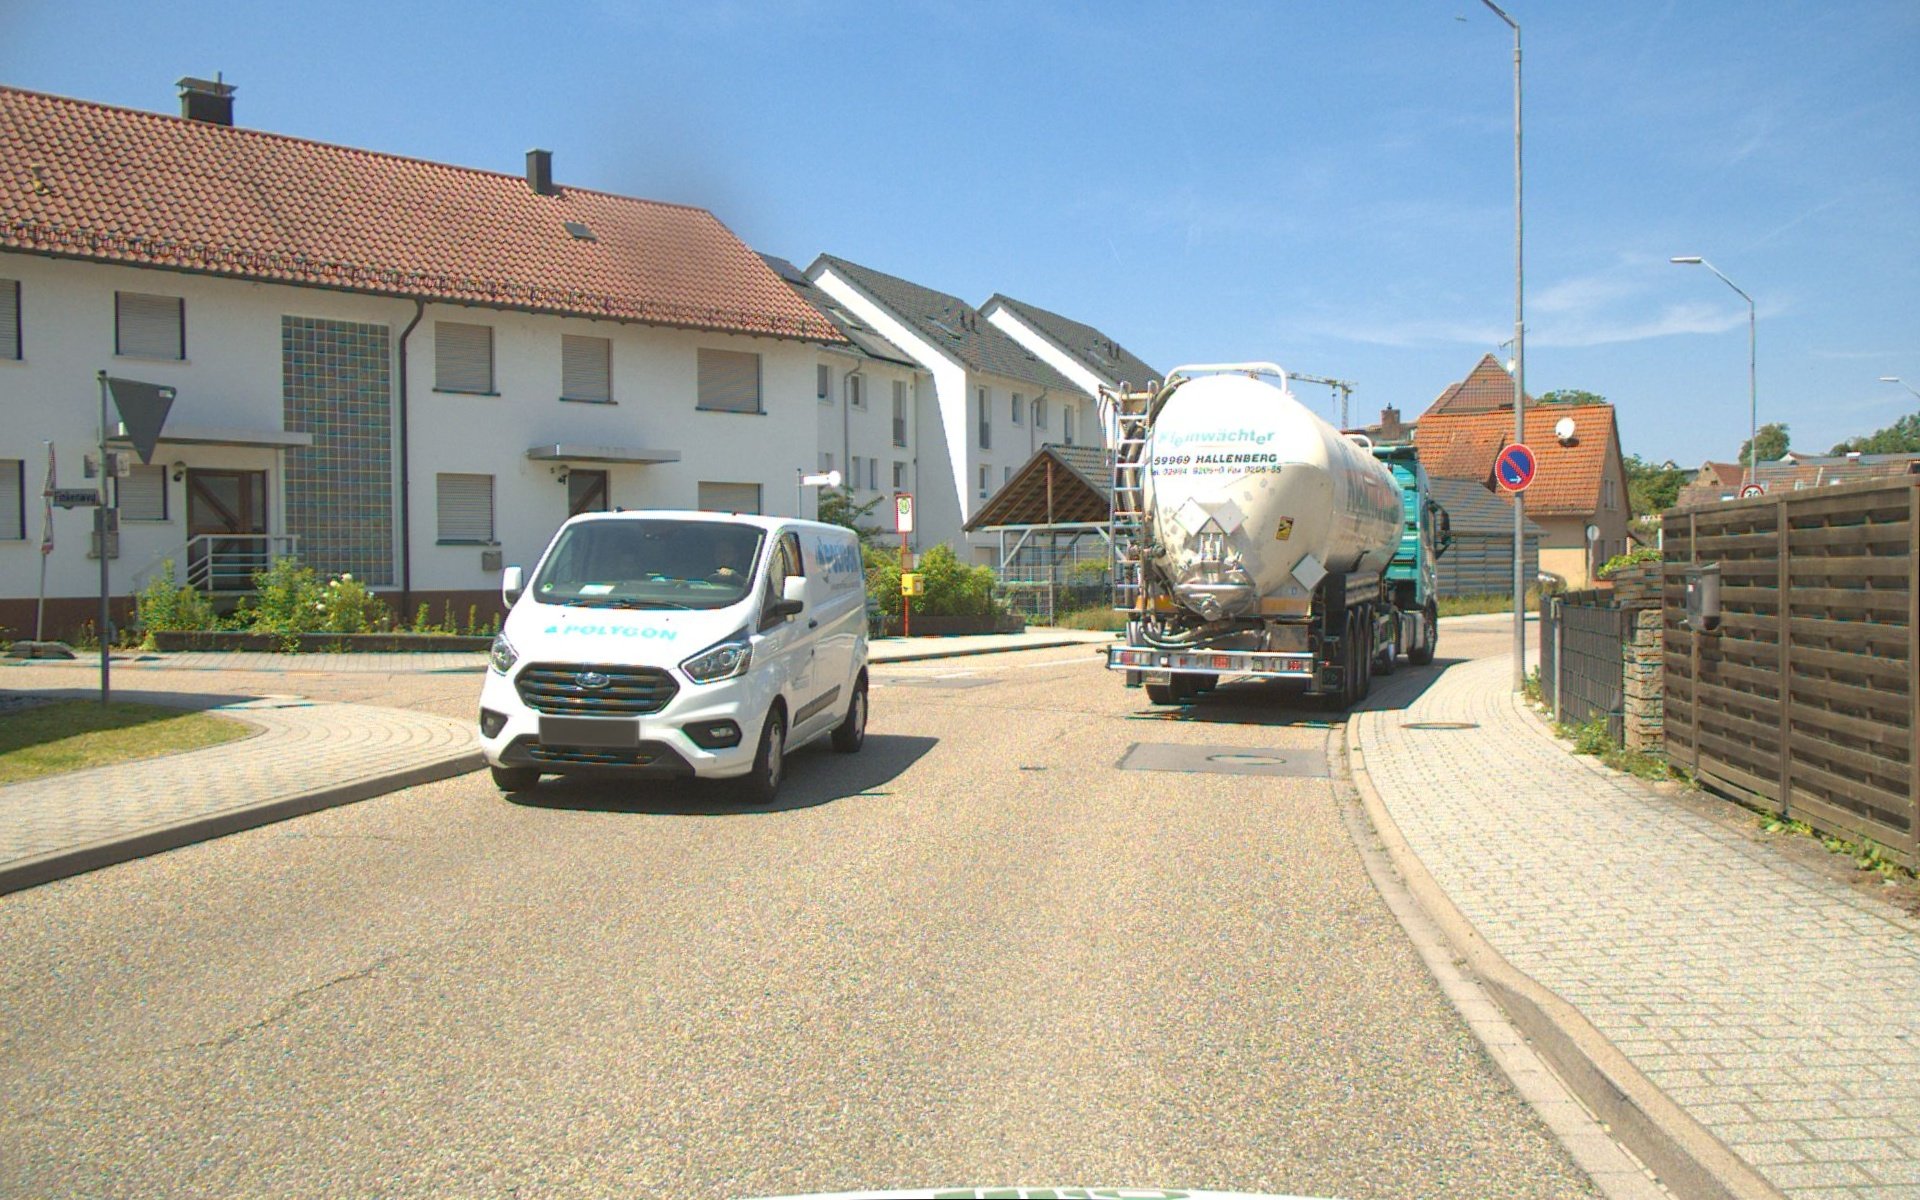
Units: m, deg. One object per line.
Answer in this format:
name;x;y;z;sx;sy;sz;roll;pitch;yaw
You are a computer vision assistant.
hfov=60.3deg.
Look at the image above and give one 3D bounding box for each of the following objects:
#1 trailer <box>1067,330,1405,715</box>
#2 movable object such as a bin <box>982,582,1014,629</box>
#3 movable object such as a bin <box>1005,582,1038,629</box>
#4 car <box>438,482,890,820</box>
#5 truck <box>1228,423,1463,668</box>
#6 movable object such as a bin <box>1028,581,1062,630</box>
trailer;4.397;-0.869;23.254;2.891;4.017;11.624;0;1;19
movable object such as a bin;1.064;0.146;46.284;0.630;1.301;0.691;1;1;38
movable object such as a bin;1.710;0.145;45.823;0.630;1.301;0.691;1;1;38
car;-1.953;0.263;12.810;1.951;2.034;5.219;1;1;7
truck;7.205;-0.913;30.397;2.930;4.034;5.572;0;0;28
movable object such as a bin;2.330;0.144;45.304;0.630;1.301;0.691;1;1;38
